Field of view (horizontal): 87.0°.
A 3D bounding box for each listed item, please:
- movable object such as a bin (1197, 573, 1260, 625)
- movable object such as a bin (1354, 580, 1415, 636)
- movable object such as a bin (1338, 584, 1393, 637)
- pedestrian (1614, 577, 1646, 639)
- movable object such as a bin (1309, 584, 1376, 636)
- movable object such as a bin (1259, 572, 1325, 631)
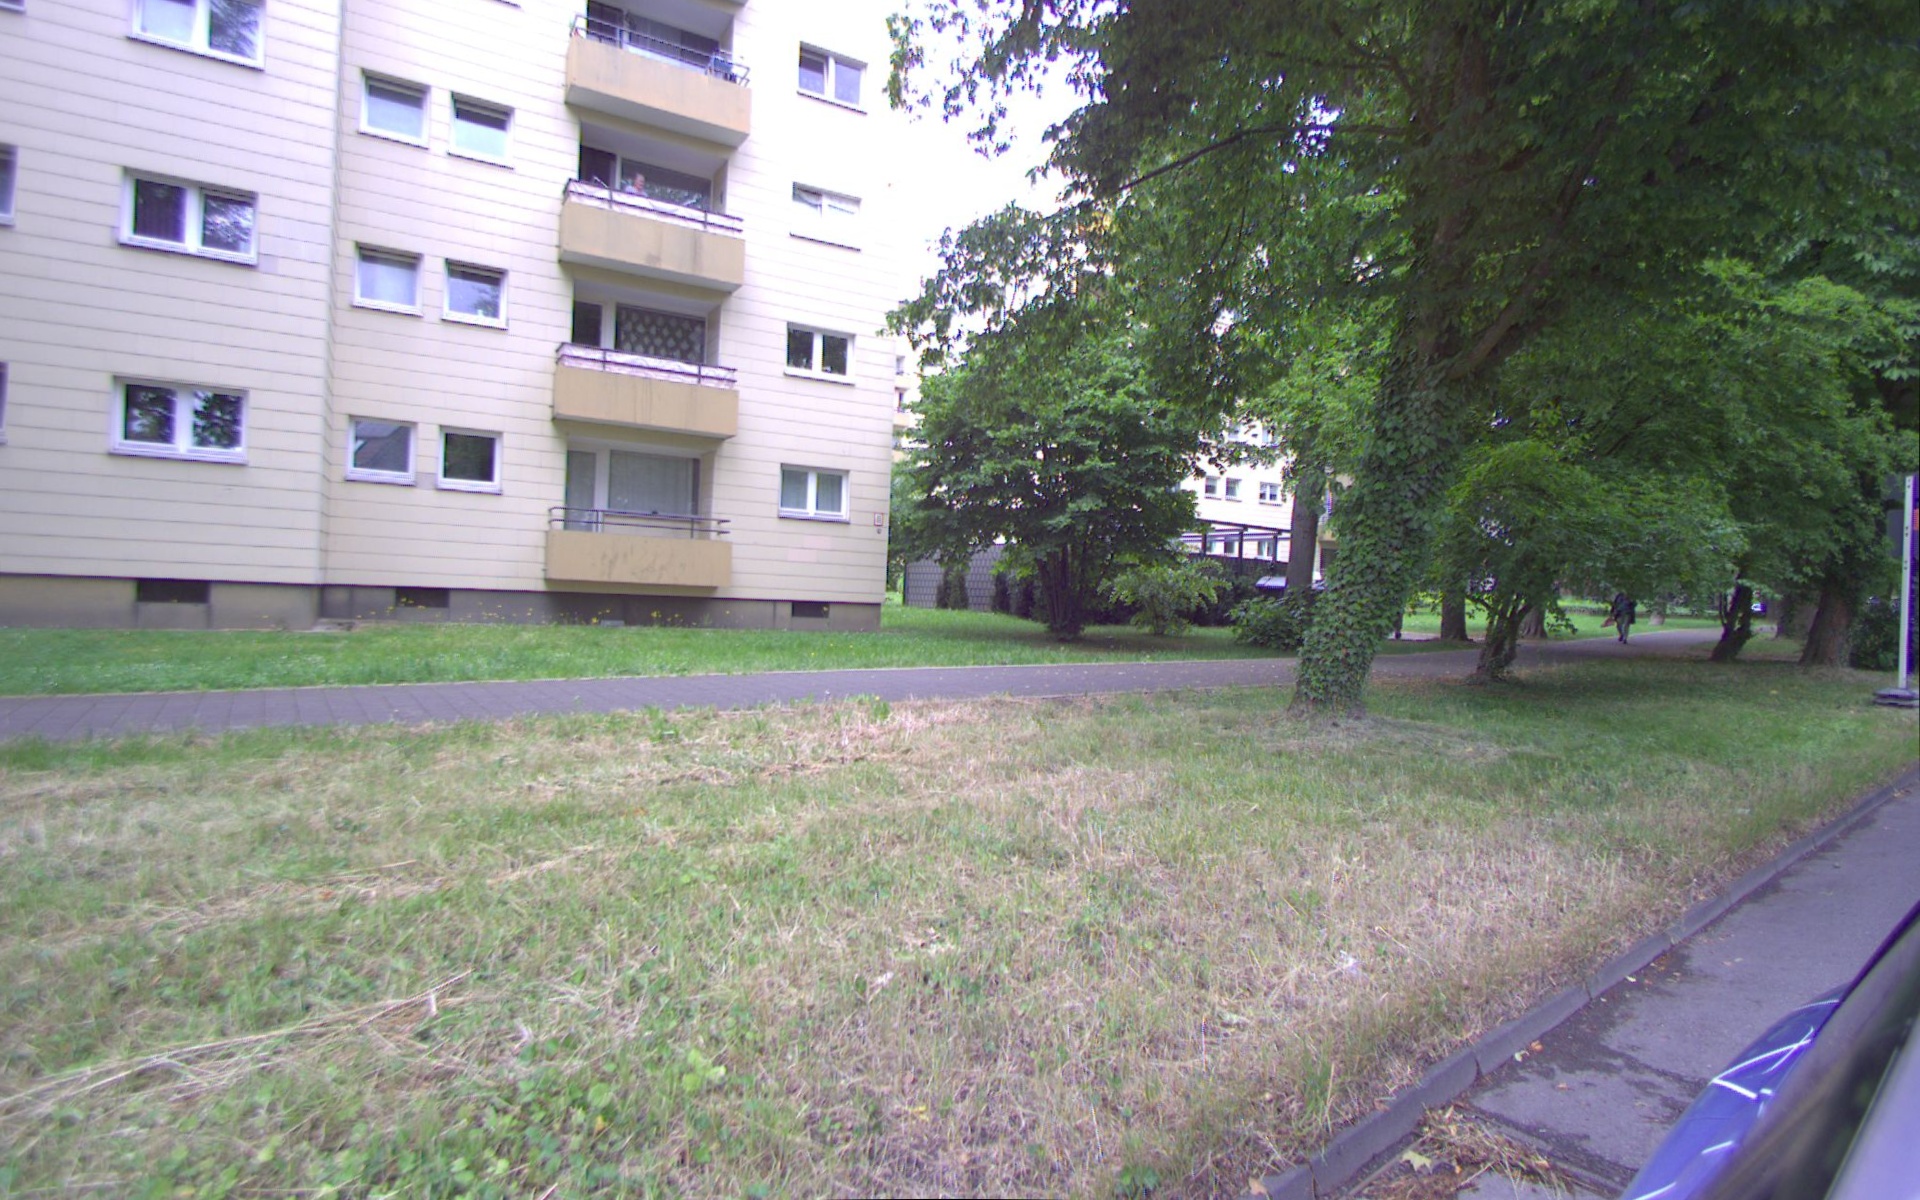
[{"bbox_3d":[7.418,-0.036,27.916,1.190,1.358,1.328,3,2,41],"label":"movable object such as a bin"},{"bbox_3d":[11.358,0.201,27.065,1.190,1.431,1.094,3,2,41],"label":"movable object such as a bin"},{"bbox_3d":[10.557,0.261,26.346,1.022,1.320,0.946,3,2,41],"label":"movable object such as a bin"},{"bbox_3d":[19.457,0.220,29.389,0.560,1.761,0.565,1,2,-41],"label":"pedestrian"},{"bbox_3d":[9.670,0.239,25.573,1.190,1.236,1.328,3,2,41],"label":"movable object such as a bin"},{"bbox_3d":[8.680,0.023,26.444,1.190,1.475,1.328,3,2,41],"label":"movable object such as a bin"}]
